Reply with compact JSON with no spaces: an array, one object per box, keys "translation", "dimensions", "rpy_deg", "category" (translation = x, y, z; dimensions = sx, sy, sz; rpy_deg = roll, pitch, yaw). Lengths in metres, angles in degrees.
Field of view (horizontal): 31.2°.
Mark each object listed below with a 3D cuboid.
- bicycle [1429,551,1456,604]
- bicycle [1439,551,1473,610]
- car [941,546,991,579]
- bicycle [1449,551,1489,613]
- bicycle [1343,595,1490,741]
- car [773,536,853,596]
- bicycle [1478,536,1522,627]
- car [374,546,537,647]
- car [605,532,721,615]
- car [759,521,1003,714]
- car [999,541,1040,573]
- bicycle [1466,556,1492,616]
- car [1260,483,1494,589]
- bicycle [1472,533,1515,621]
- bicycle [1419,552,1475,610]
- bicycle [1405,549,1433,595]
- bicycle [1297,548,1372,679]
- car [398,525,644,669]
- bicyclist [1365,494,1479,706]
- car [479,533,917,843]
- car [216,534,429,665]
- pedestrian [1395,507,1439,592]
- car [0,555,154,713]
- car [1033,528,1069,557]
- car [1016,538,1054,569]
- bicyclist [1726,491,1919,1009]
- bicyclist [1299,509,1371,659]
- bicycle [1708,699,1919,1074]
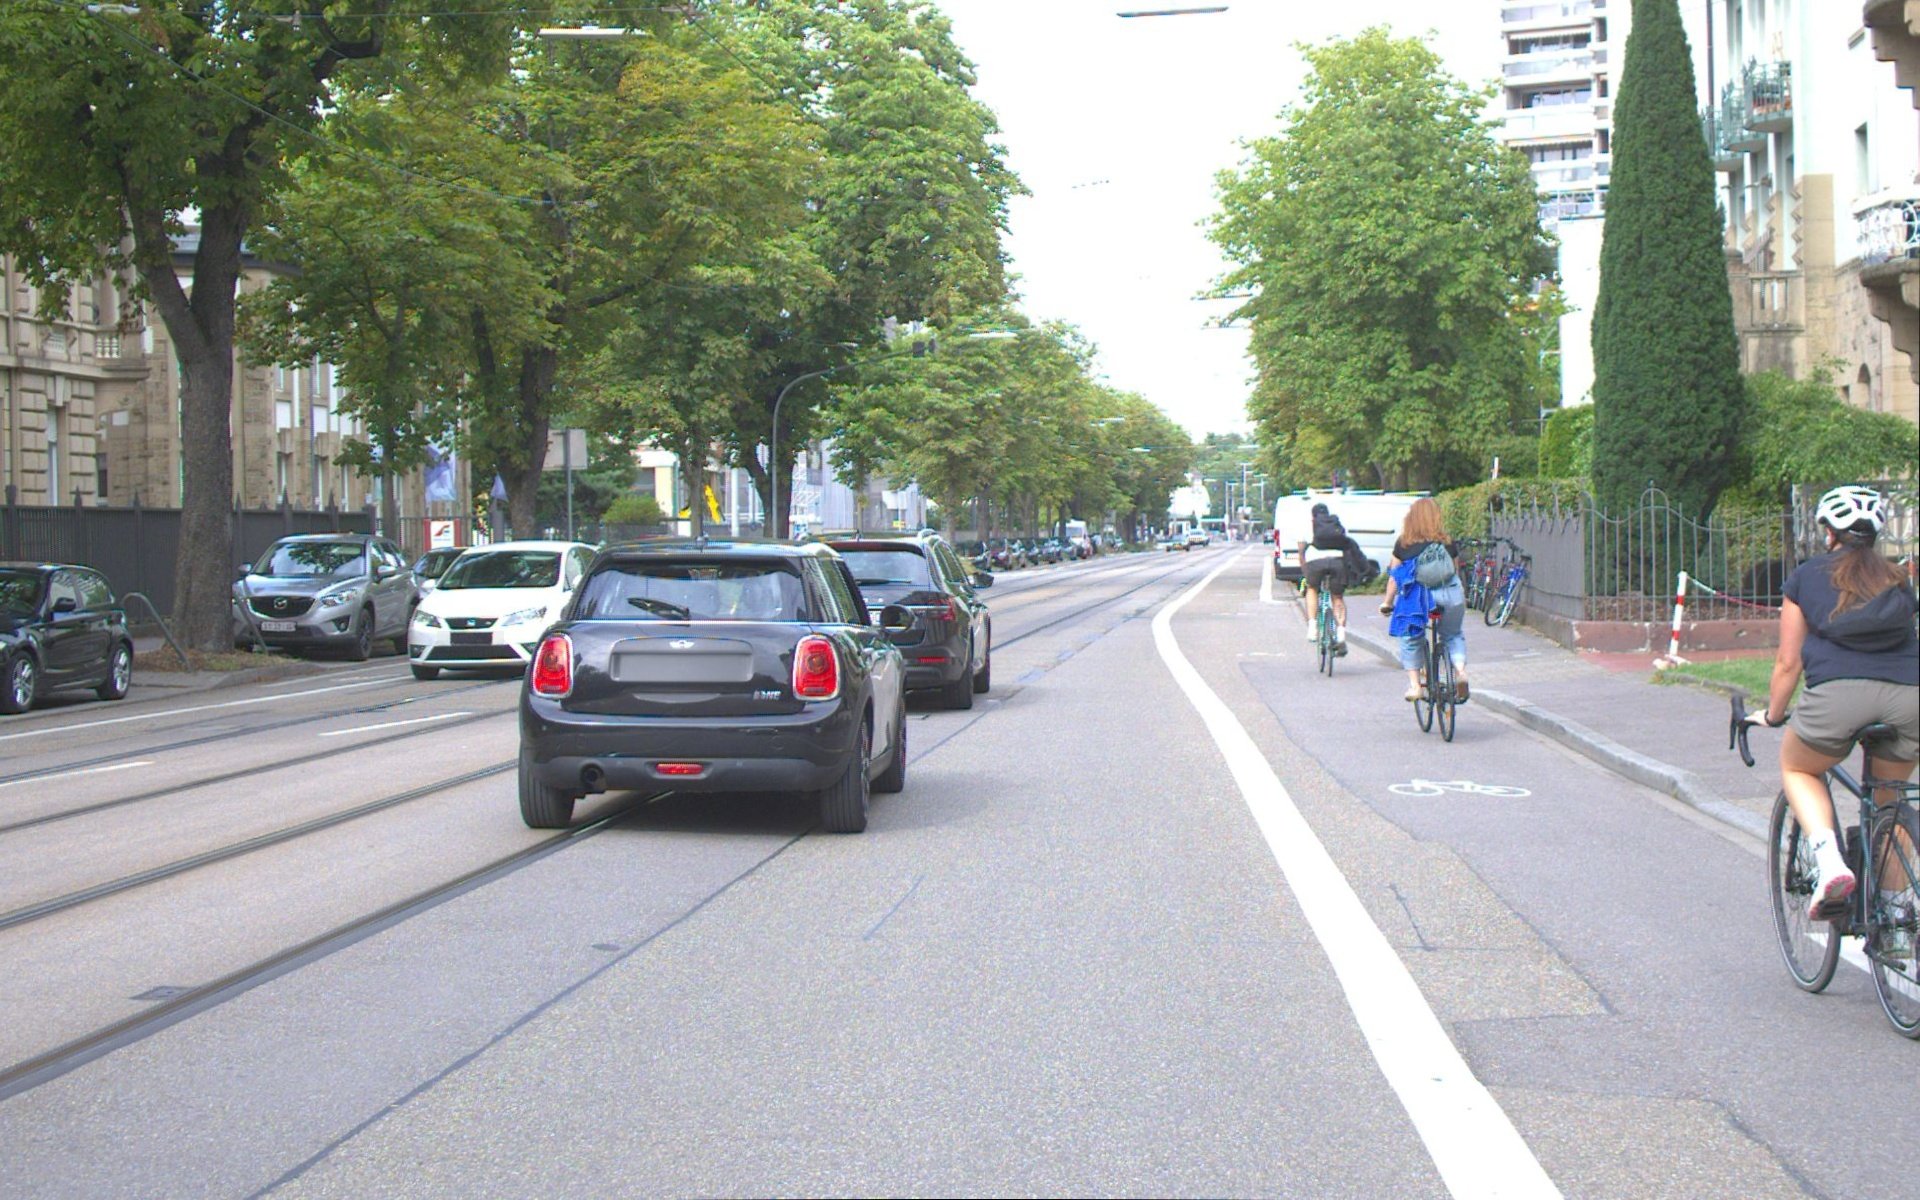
[{"translation":[8.429,-0.389,60.060],"dimensions":[0.386,0.904,1.664],"rpy_deg":[-2,0,10],"category":"bicycle"},{"translation":[7.755,-0.308,53.754],"dimensions":[0.486,0.904,1.664],"rpy_deg":[-2,0,8],"category":"bicycle"},{"translation":[0.278,-1.620,147.974],"dimensions":[1.803,1.369,4.030],"rpy_deg":[-2,1,5],"category":"car"},{"translation":[7.694,-0.269,51.967],"dimensions":[0.486,0.904,1.665],"rpy_deg":[-2,0,5],"category":"bicycle"},{"translation":[3.260,0.467,24.717],"dimensions":[0.688,0.959,2.037],"rpy_deg":[-1,1,-2],"category":"bicycle"},{"translation":[-4.060,-0.959,95.519],"dimensions":[1.756,1.641,4.052],"rpy_deg":[0,1,4],"category":"car"},{"translation":[6.787,-0.245,43.271],"dimensions":[0.391,1.099,1.759],"rpy_deg":[-2,1,5],"category":"bicycle"},{"translation":[-7.762,-0.083,53.216],"dimensions":[1.601,1.463,4.078],"rpy_deg":[0,1,5],"category":"car"},{"translation":[-6.242,-0.578,72.688],"dimensions":[1.721,1.649,4.542],"rpy_deg":[1,1,4],"category":"car"},{"translation":[-0.594,0.102,28.761],"dimensions":[1.793,1.465,4.000],"rpy_deg":[1,1,2],"category":"car"},{"translation":[3.090,-2.217,177.830],"dimensions":[1.803,1.578,4.030],"rpy_deg":[-2,1,5],"category":"car"},{"translation":[7.572,-0.207,50.159],"dimensions":[0.278,0.849,1.198],"rpy_deg":[-2,0,5],"category":"bicycle"},{"translation":[9.322,-1.417,76.698],"dimensions":[4.944,2.282,2.384],"rpy_deg":[-1,1,-38],"category":"car"},{"translation":[7.127,-0.322,45.964],"dimensions":[0.391,1.138,1.920],"rpy_deg":[-2,1,5],"category":"bicycle"},{"translation":[7.882,-0.300,55.663],"dimensions":[0.485,0.904,1.665],"rpy_deg":[-2,0,-6],"category":"bicycle"},{"translation":[9.112,-0.556,68.289],"dimensions":[0.386,0.904,1.842],"rpy_deg":[-2,0,3],"category":"bicycle"},{"translation":[3.707,0.113,34.132],"dimensions":[0.657,1.244,2.124],"rpy_deg":[0,1,4],"category":"bicycle"},{"translation":[-4.761,-0.068,37.782],"dimensions":[1.571,1.411,3.999],"rpy_deg":[-3,1,9],"category":"car"},{"translation":[3.267,-0.014,24.362],"dimensions":[0.647,1.465,0.801],"rpy_deg":[-1,2,-3],"category":"bicyclist"},{"translation":[-1.257,0.377,18.110],"dimensions":[1.793,1.418,4.000],"rpy_deg":[1,1,3],"category":"car"},{"translation":[-8.498,-0.044,46.190],"dimensions":[1.710,1.668,4.356],"rpy_deg":[0,1,5],"category":"car"},{"translation":[9.634,-1.063,72.483],"dimensions":[0.785,1.727,0.896],"rpy_deg":[-3,1,5],"category":"pedestrian"},{"translation":[-9.609,0.291,34.267],"dimensions":[1.720,1.420,4.165],"rpy_deg":[1,1,7],"category":"car"},{"translation":[5.228,-3.278,196.900],"dimensions":[1.803,1.578,4.030],"rpy_deg":[-2,1,5],"category":"car"},{"translation":[4.111,-2.536,187.818],"dimensions":[1.803,1.578,4.030],"rpy_deg":[-2,1,5],"category":"car"},{"translation":[2.861,0.443,10.941],"dimensions":[0.638,1.565,1.110],"rpy_deg":[0,1,3],"category":"bicyclist"},{"translation":[3.717,-0.168,34.146],"dimensions":[0.657,1.458,1.178],"rpy_deg":[0,1,4],"category":"bicyclist"},{"translation":[2.867,0.851,10.886],"dimensions":[0.638,0.977,2.071],"rpy_deg":[0,1,3],"category":"bicycle"}]
